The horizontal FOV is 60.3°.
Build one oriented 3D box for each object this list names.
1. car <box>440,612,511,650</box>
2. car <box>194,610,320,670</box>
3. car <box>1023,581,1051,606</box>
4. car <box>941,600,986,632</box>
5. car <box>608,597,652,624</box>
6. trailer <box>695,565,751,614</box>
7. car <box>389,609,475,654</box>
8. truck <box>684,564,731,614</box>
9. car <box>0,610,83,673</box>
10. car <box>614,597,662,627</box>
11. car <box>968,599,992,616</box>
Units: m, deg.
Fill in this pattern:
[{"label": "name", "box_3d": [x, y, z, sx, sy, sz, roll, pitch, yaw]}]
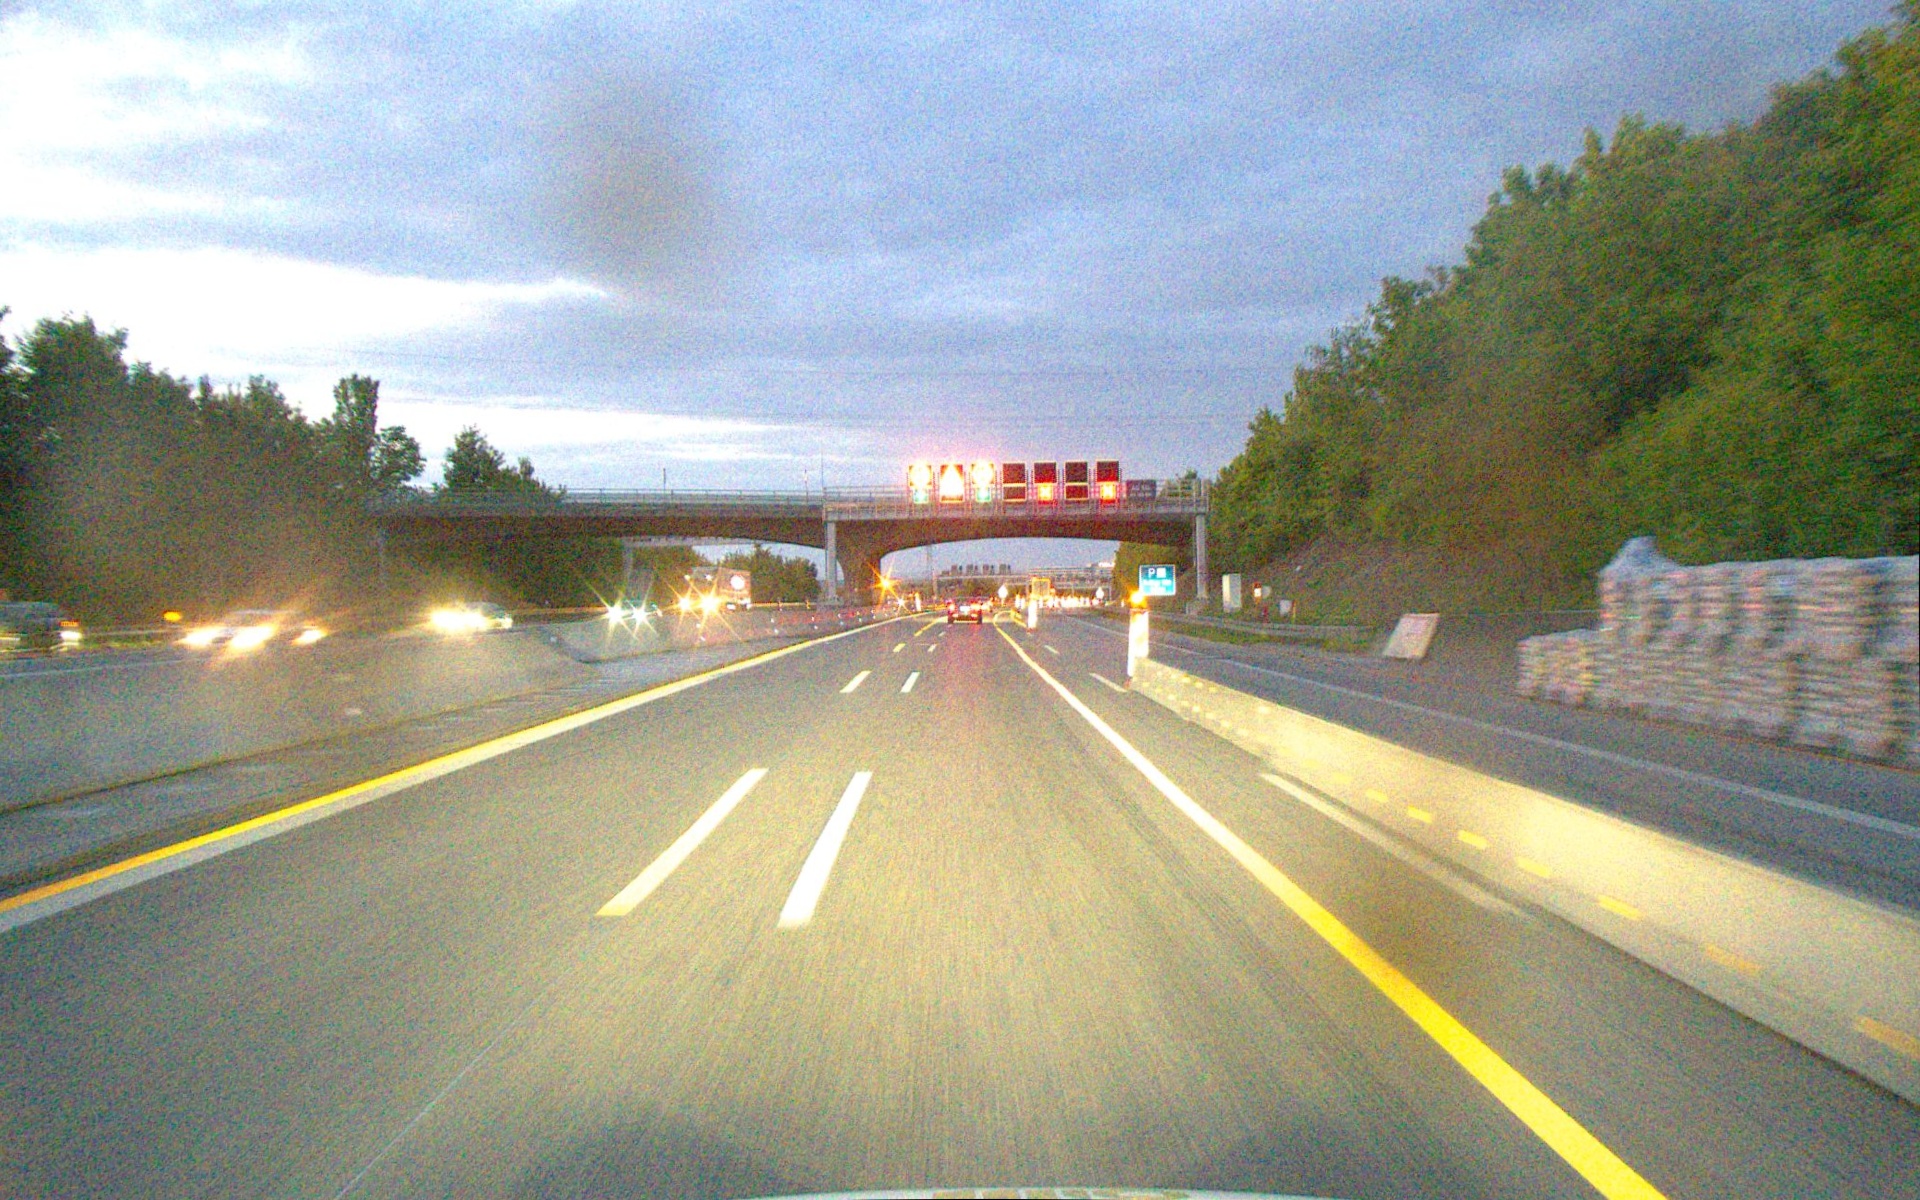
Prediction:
[{"label": "car", "box_3d": [-22.530, 1.406, 77.120, 1.701, 1.666, 5.171, 1, 0, 1]}, {"label": "car", "box_3d": [-21.027, 1.157, 49.707, 1.644, 1.666, 4.751, 1, 0, 1]}, {"label": "car", "box_3d": [11.031, -0.877, 237.097, 3.531, 3.455, 8.013, 1, 0, 0]}, {"label": "car", "box_3d": [0.150, 0.853, 88.516, 2.220, 1.650, 3.998, 1, 0, -2]}, {"label": "car", "box_3d": [-21.385, 0.681, 107.360, 1.558, 1.632, 5.035, 1, 0, 2]}, {"label": "trailer", "box_3d": [-21.717, -0.857, 152.455, 2.721, 4.279, 12.406, 1, 0, 3]}, {"label": "car", "box_3d": [-20.934, 1.210, 65.763, 1.767, 1.666, 4.751, 1, 0, 1]}, {"label": "truck", "box_3d": [-22.049, -0.903, 144.536, 2.719, 4.244, 6.388, 1, 0, 3]}, {"label": "car", "box_3d": [-26.828, 1.137, 46.443, 1.767, 1.666, 4.751, 1, 0, 1]}, {"label": "car", "box_3d": [-18.805, 0.717, 96.744, 1.701, 1.666, 4.892, 1, 0, 1]}, {"label": "car", "box_3d": [1.831, 0.693, 149.603, 1.930, 1.462, 4.002, 1, 0, 4]}]
